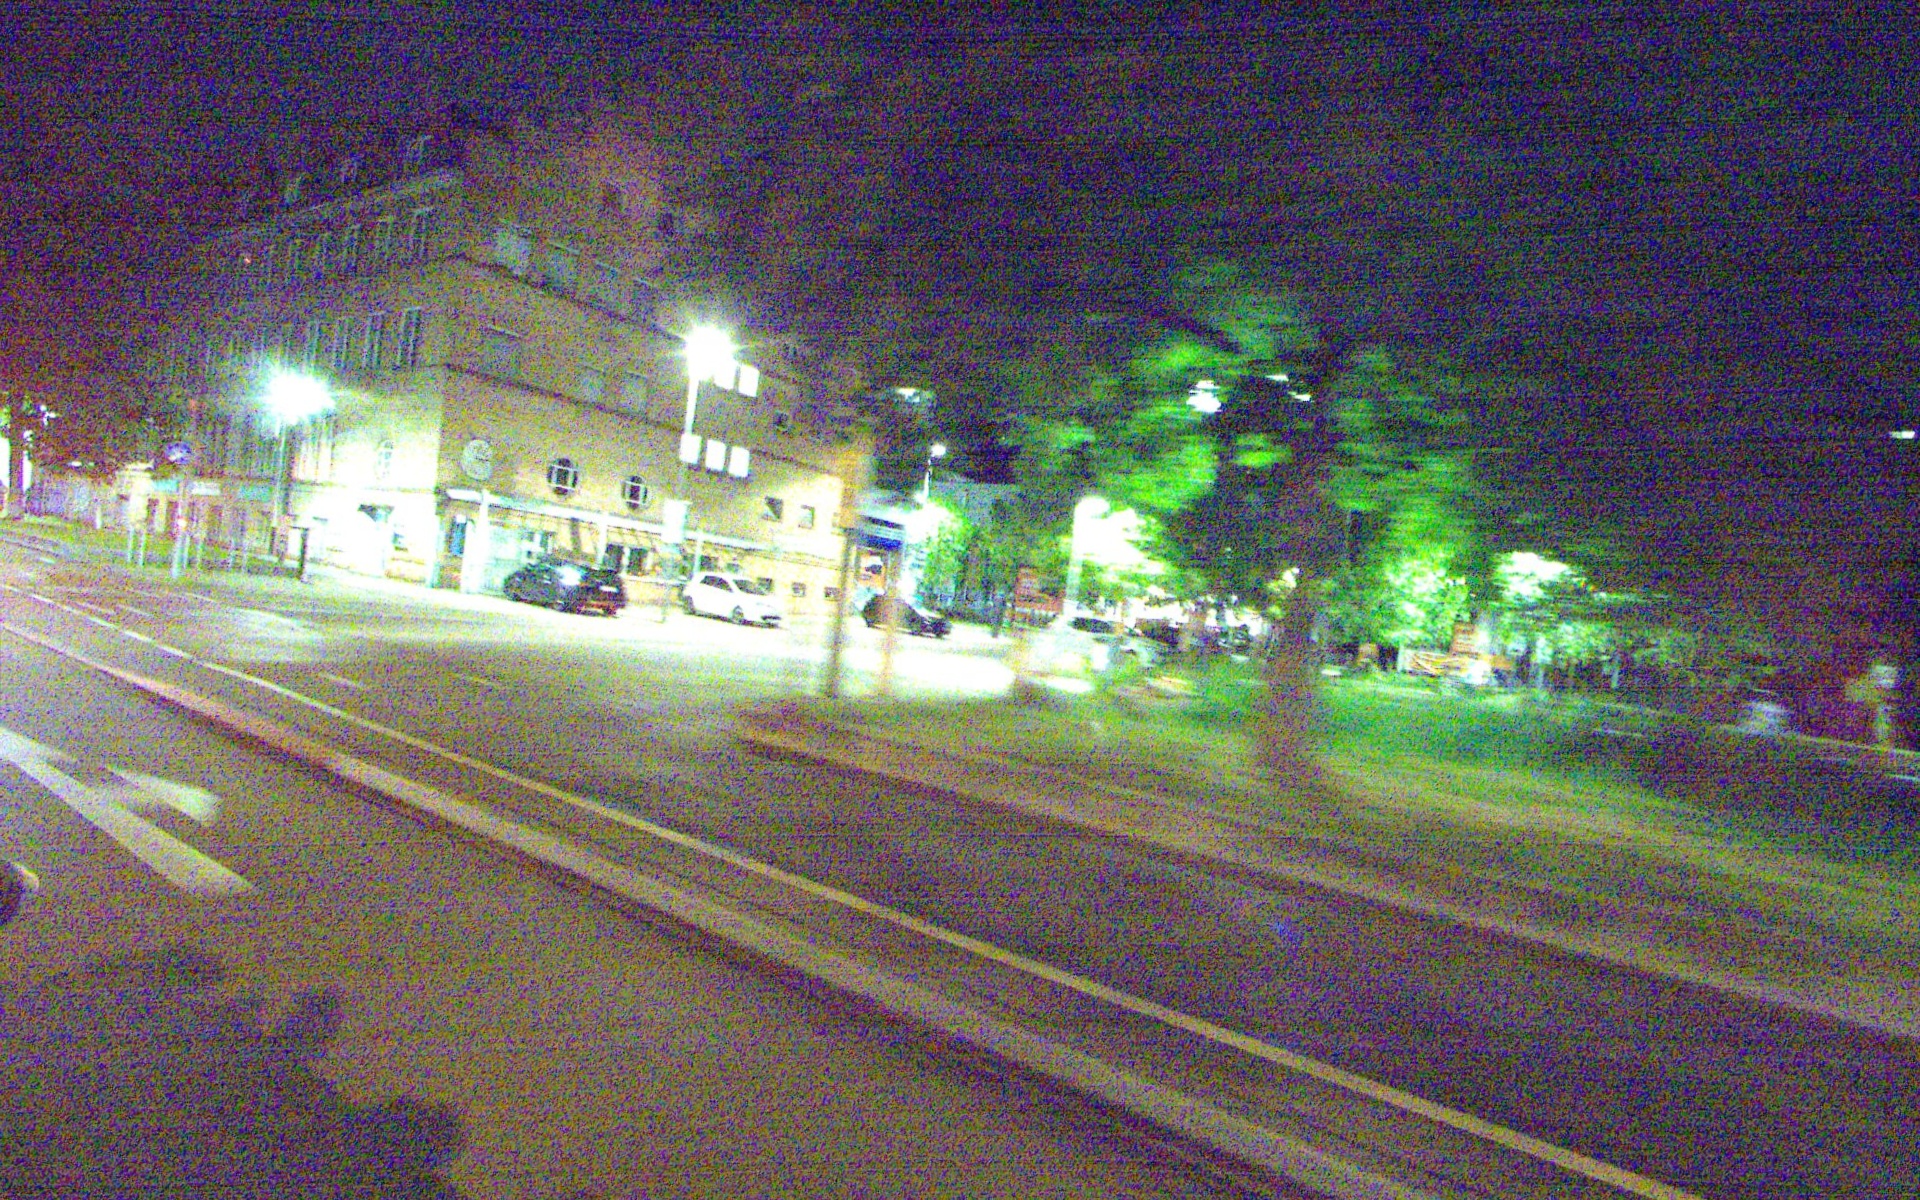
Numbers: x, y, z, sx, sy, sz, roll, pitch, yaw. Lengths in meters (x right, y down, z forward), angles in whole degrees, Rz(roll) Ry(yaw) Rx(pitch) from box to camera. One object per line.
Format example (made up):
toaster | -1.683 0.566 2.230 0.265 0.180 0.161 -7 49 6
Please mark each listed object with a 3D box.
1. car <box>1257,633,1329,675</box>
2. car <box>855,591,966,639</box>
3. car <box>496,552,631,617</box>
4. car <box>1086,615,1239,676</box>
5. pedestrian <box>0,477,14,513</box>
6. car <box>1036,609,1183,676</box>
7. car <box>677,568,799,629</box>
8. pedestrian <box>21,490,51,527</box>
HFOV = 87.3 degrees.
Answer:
car | 17.066 2.793 51.428 2.047 1.787 4.537 7 0 36
car | -2.089 0.622 41.897 4.173 1.446 1.994 7 0 34
car | -11.550 -0.474 29.162 4.414 1.413 1.512 7 1 38
car | 7.076 1.582 35.344 4.813 1.531 1.890 7 0 34
pedestrian | -50.414 -5.537 52.864 0.892 1.791 0.738 7 2 35
car | 4.618 1.310 31.231 4.034 1.552 1.769 7 0 35
car | -7.566 -0.060 34.098 3.939 1.552 1.781 7 0 37
pedestrian | -49.542 -4.912 53.947 0.892 1.791 0.901 7 2 35
